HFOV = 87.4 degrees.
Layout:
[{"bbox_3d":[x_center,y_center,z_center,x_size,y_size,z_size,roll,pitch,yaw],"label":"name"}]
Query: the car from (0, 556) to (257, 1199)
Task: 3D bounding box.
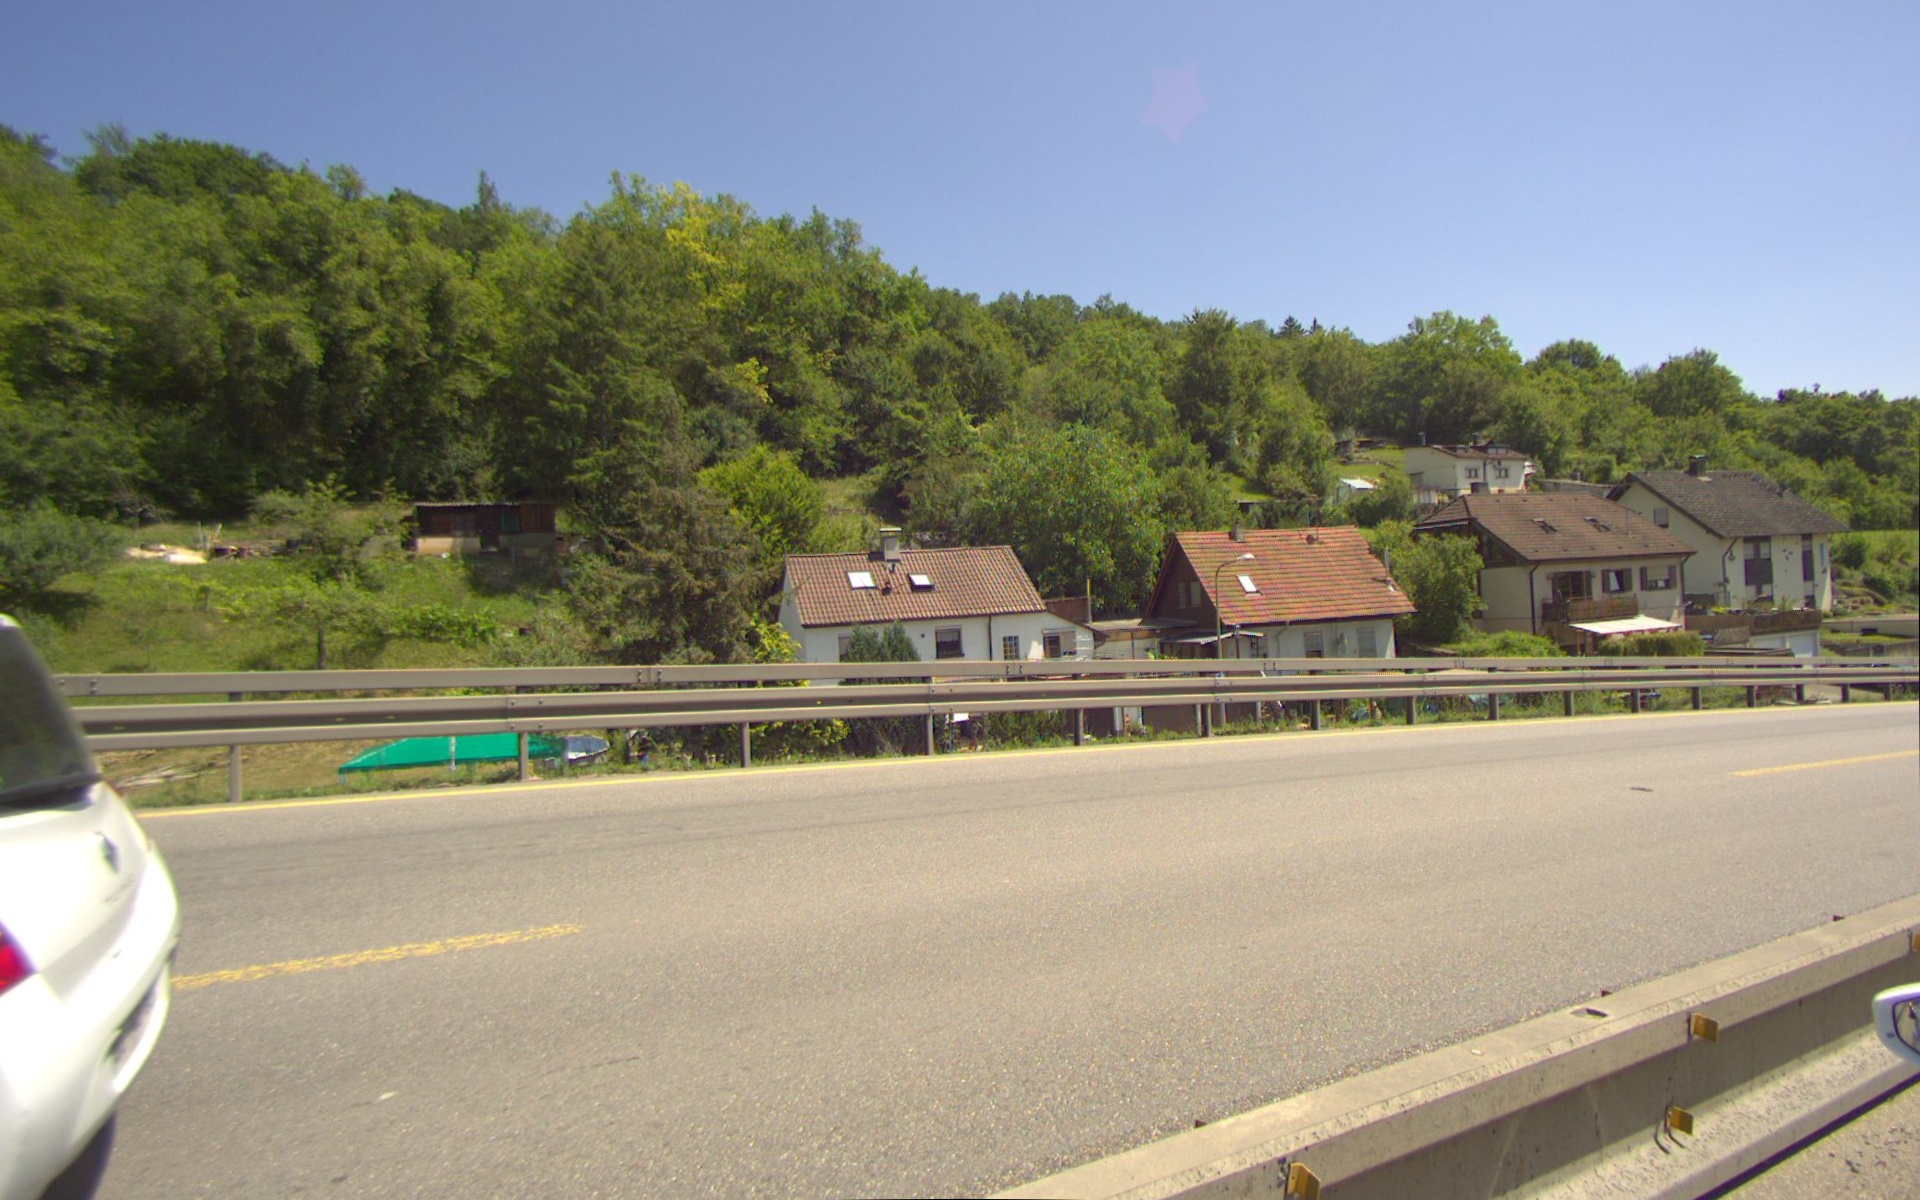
[{"bbox_3d":[-3.448,0.636,1.592,3.666,1.445,1.738,1,0,-31],"label":"car"}]
